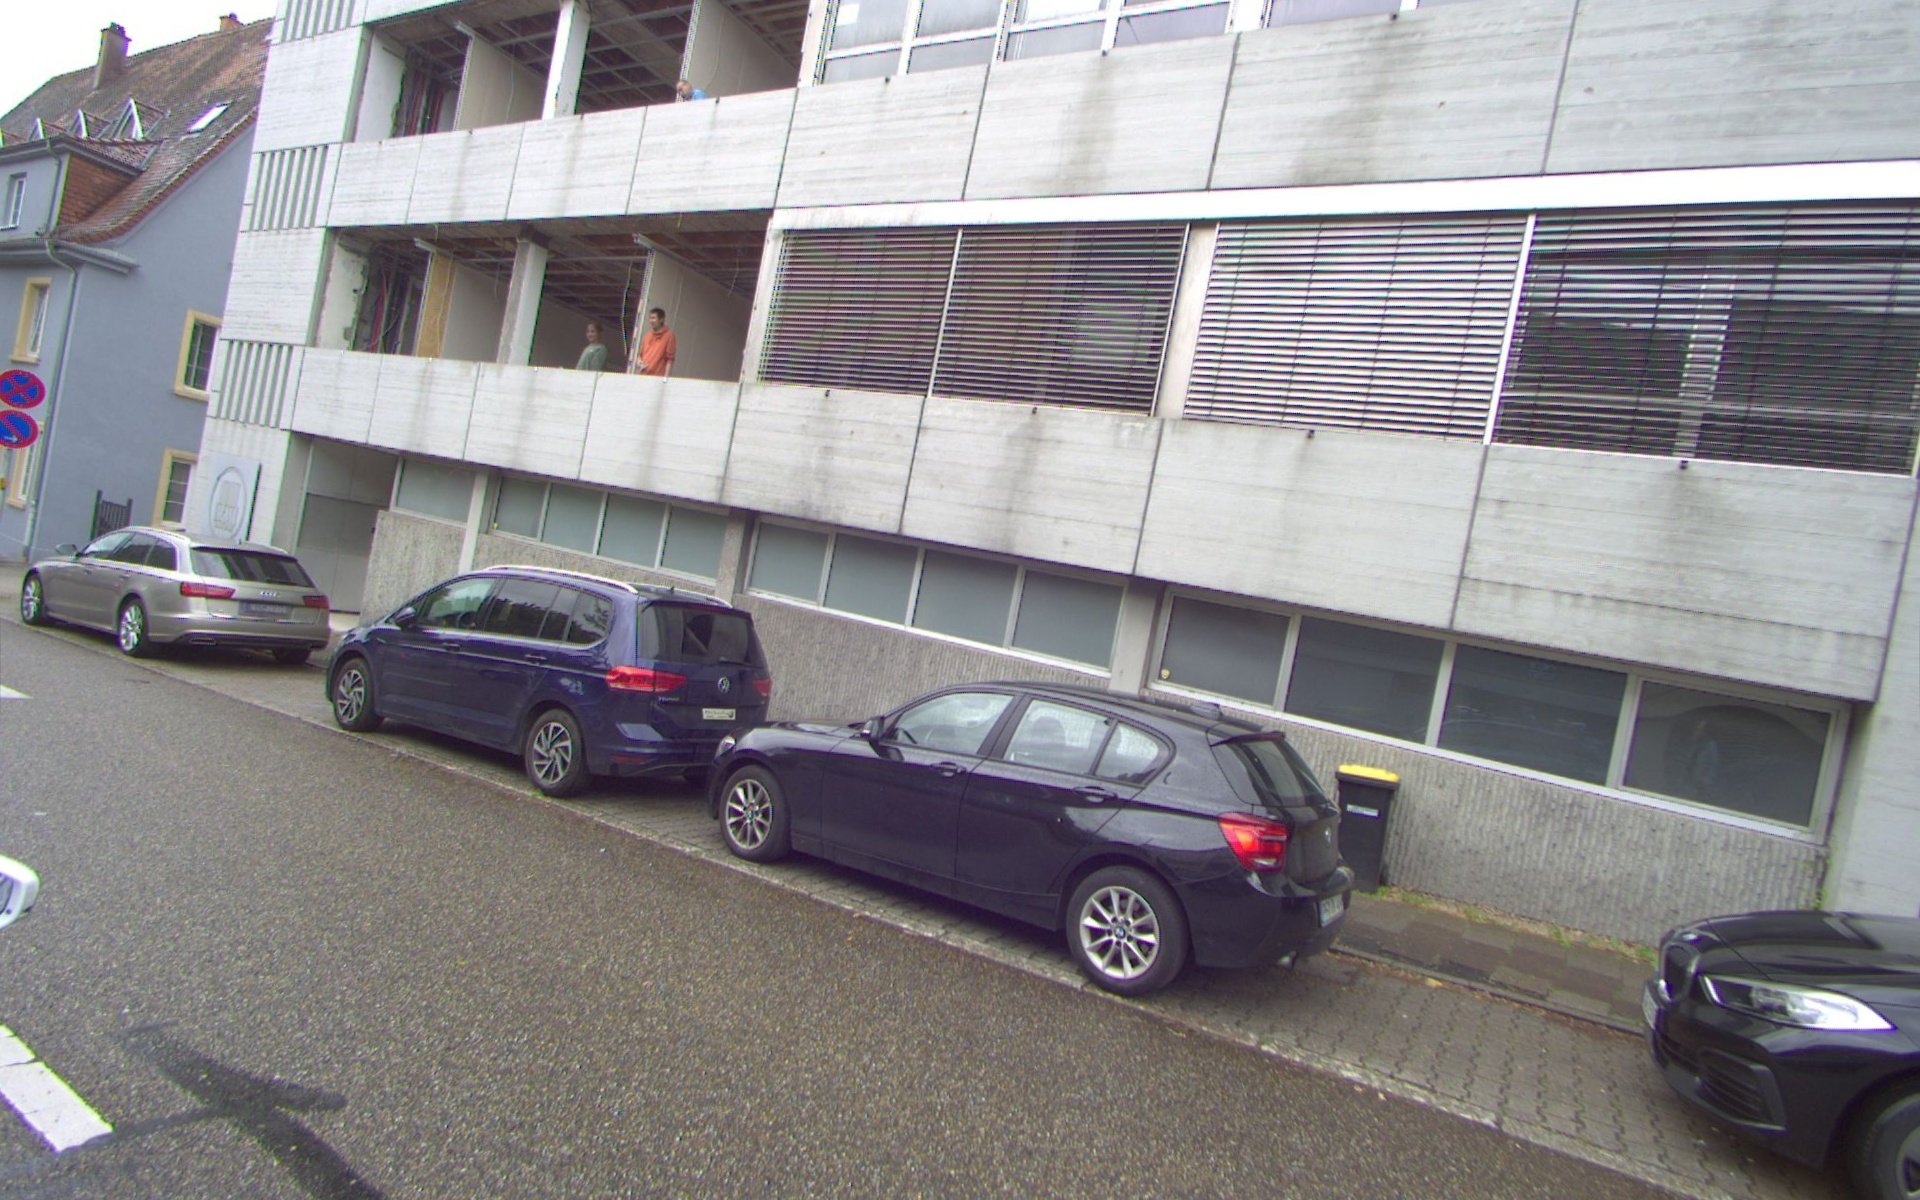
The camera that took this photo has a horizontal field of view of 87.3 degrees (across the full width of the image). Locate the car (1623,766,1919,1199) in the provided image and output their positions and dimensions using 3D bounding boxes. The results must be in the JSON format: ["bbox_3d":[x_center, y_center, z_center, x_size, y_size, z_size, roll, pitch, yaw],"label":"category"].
[{"bbox_3d":[5.097,1.776,3.513,4.367,1.452,1.997,7,-1,30],"label":"car"}]

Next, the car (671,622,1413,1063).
[{"bbox_3d":[0.345,1.166,6.291,4.183,1.465,1.750,7,-1,34],"label":"car"}]

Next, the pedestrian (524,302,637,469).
[{"bbox_3d":[-5.247,-2.930,13.938,0.847,2.036,0.909,6,-2,31],"label":"pedestrian"}]

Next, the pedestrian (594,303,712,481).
[{"bbox_3d":[-3.989,-2.669,13.106,0.847,2.036,0.909,6,-2,31],"label":"pedestrian"}]

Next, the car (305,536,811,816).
[{"bbox_3d":[-3.516,0.530,8.633,4.090,1.618,1.732,7,-1,30],"label":"car"}]

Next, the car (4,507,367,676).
[{"bbox_3d":[-9.792,-0.129,12.658,4.449,1.465,1.966,7,-1,30],"label":"car"}]
